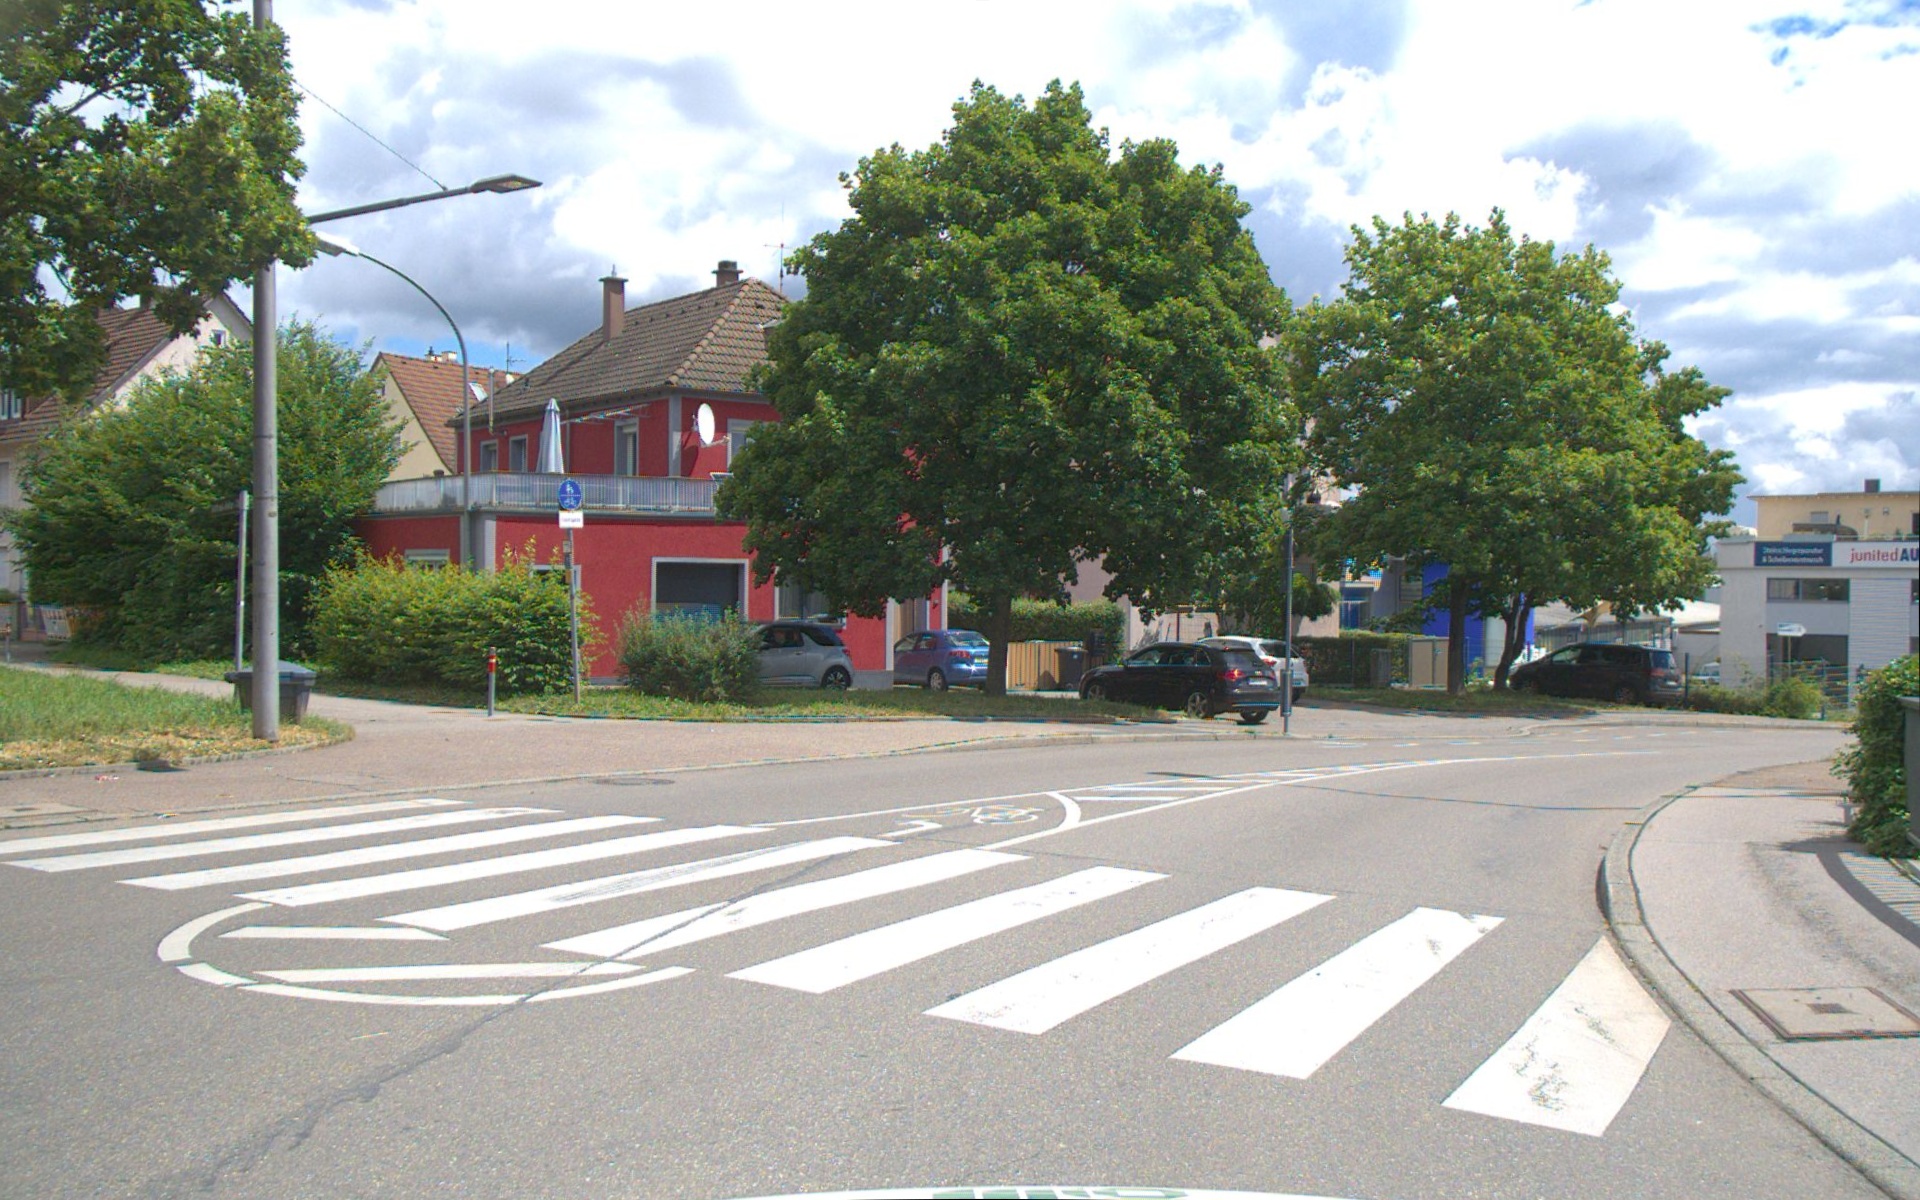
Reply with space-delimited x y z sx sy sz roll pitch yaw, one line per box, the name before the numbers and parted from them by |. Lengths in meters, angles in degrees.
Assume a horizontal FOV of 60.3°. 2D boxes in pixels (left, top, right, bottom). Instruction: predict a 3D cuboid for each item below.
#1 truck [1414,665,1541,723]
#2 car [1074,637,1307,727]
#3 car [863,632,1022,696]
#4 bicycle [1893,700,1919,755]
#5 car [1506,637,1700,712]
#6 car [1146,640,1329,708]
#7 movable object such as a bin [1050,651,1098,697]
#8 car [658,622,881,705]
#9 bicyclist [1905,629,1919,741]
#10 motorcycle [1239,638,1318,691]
truck | 25.739 4.677 82.366 5.689 2.754 2.167 -2 -5 39
car | 4.259 1.513 31.049 1.979 1.418 4.088 3 -1 -38
car | -0.455 1.487 38.787 1.824 1.402 3.762 3 -2 -38
bicycle | 16.336 2.132 27.538 2.080 0.894 0.680 4 -5 -39
car | 17.858 2.044 46.116 1.980 1.746 4.649 6 -3 -38
car | 6.375 1.705 38.267 1.860 1.429 3.872 4 -3 -41
movable object such as a bin | 2.785 1.812 40.518 0.870 1.080 0.749 4 -2 -35
car | -3.650 1.241 32.014 4.038 1.450 1.622 3 -1 -40
bicyclist | 16.334 1.429 27.552 1.069 1.858 0.677 4 -5 -39
motorcycle | 8.695 1.772 45.138 2.215 1.339 0.907 4 -2 -40
